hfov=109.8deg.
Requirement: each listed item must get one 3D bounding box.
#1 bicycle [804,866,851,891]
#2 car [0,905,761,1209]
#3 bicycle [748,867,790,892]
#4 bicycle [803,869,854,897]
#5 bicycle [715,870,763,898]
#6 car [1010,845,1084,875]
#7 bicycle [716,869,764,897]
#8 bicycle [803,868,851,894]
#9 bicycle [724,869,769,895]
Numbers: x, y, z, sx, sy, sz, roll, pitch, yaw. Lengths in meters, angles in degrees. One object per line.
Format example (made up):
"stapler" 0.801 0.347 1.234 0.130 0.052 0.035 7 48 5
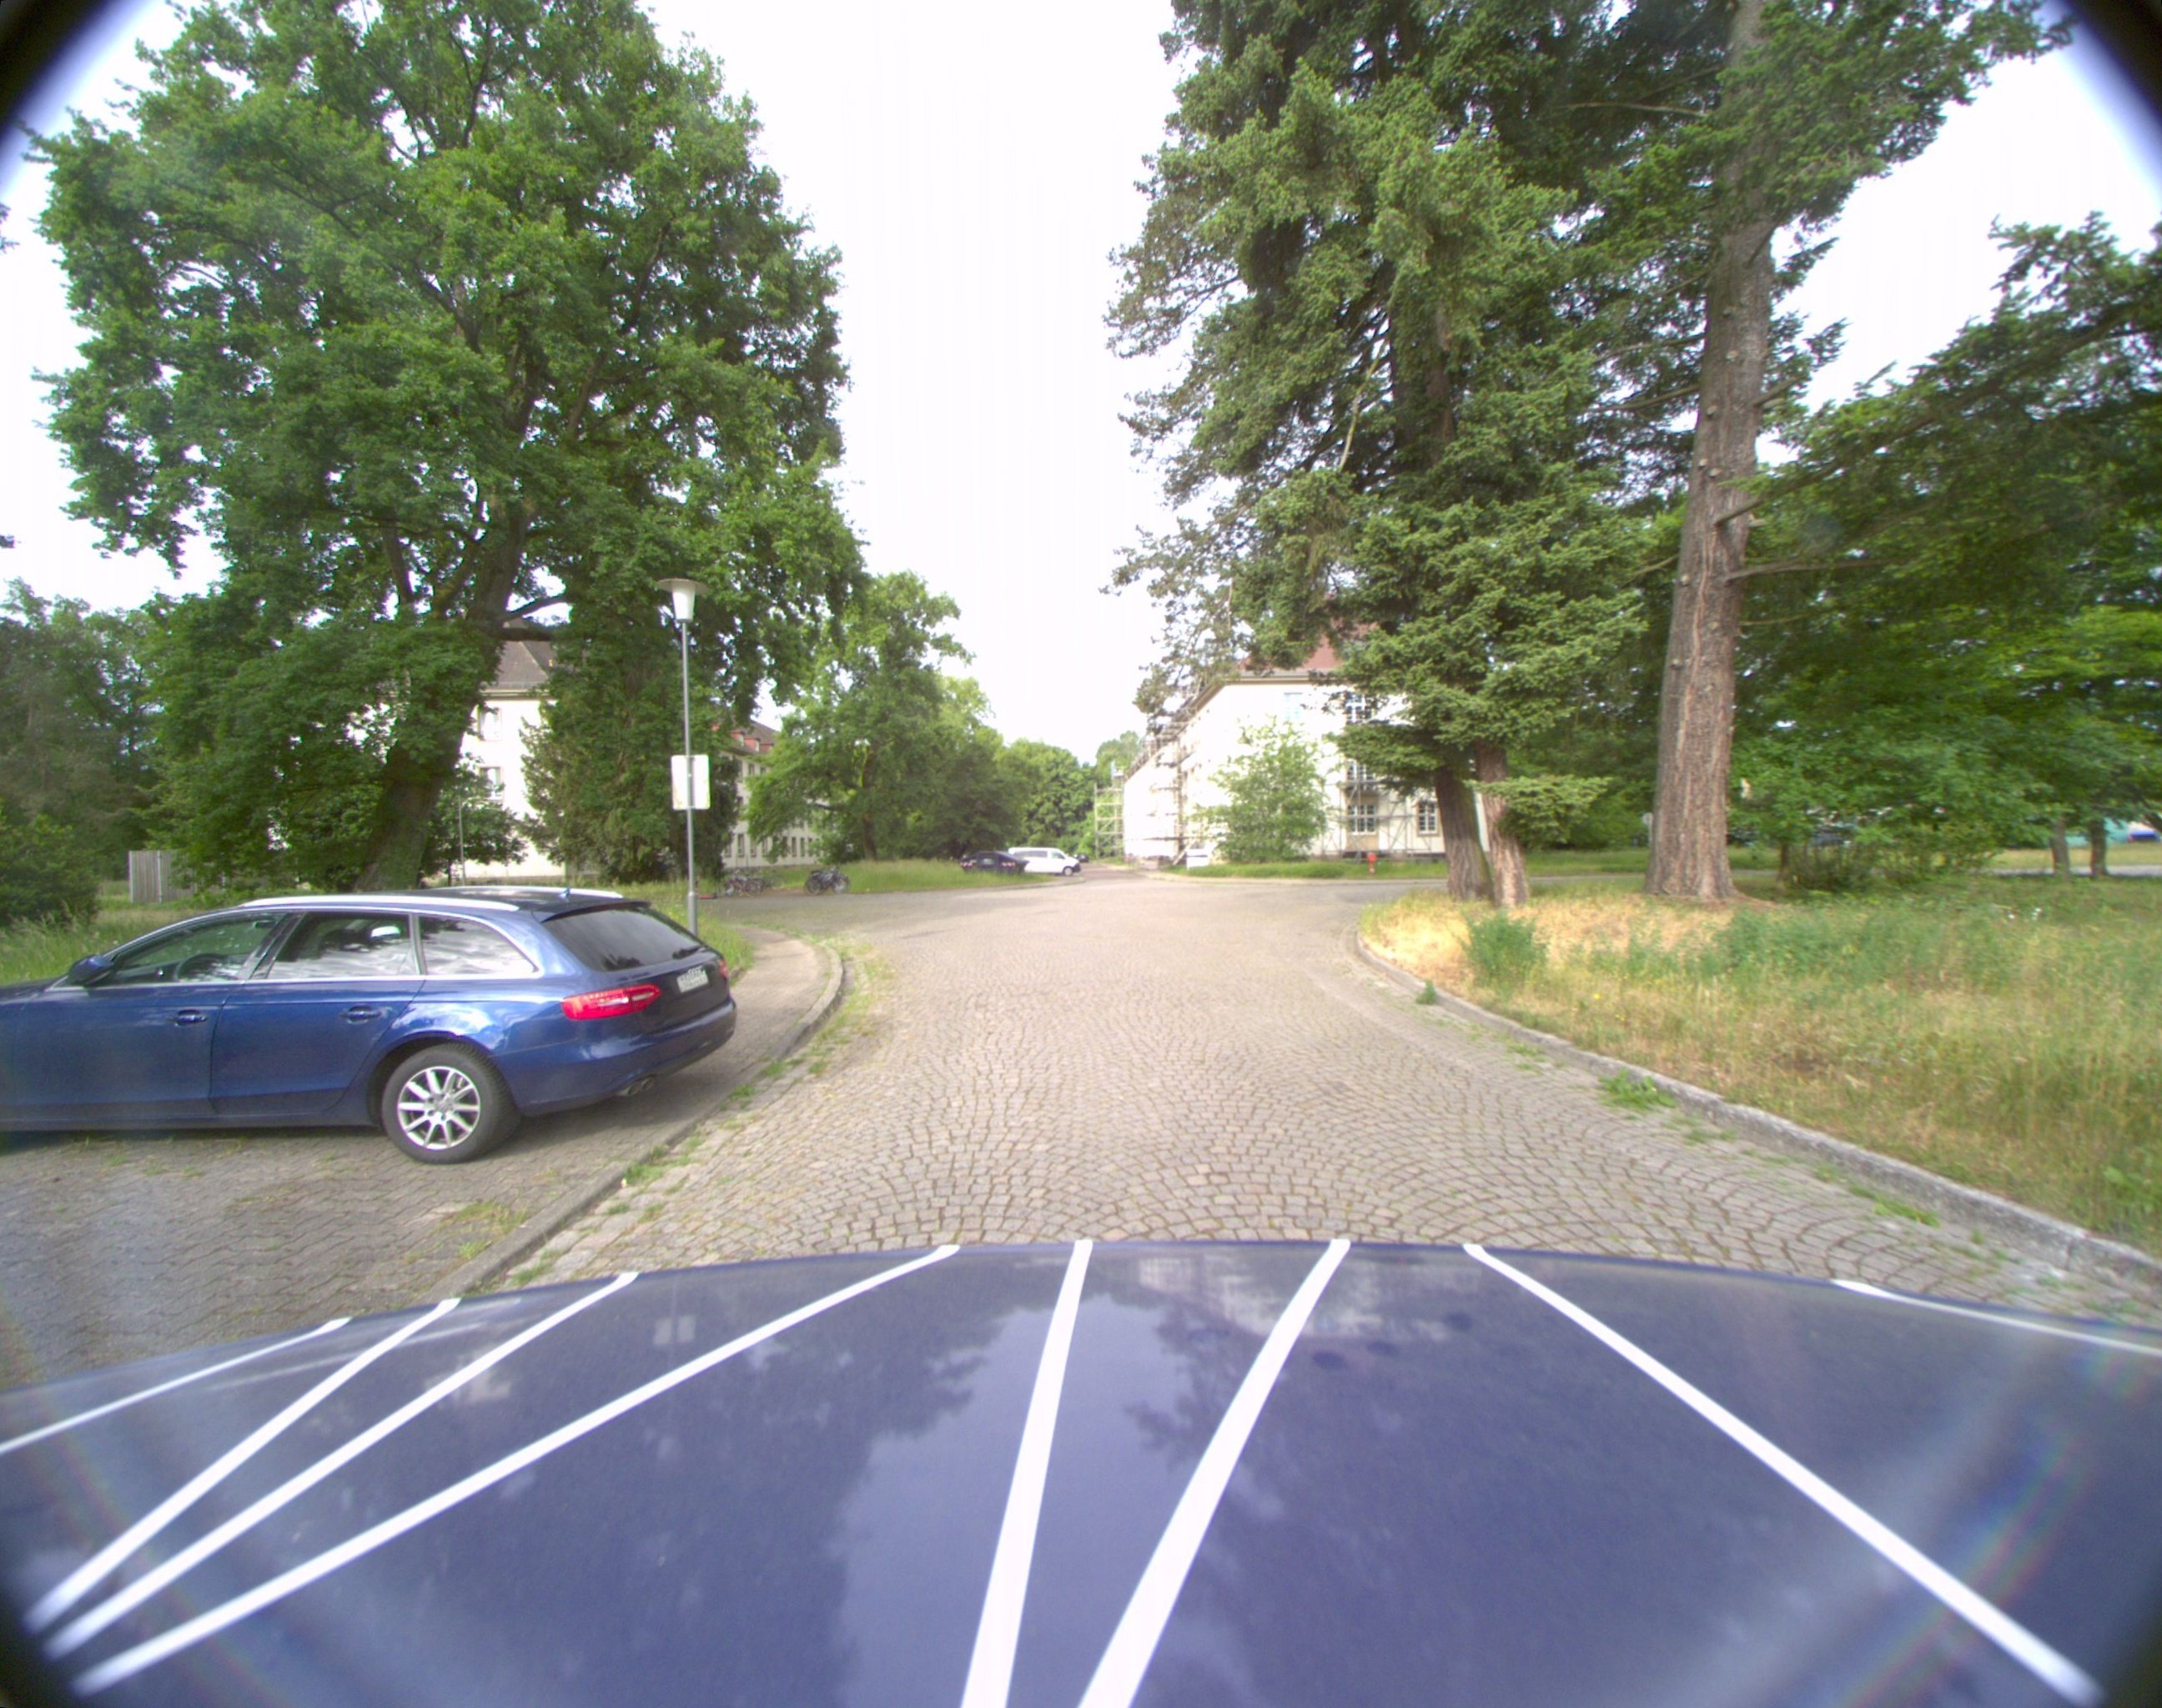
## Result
"bicycle" -12.238 1.169 36.700 2.032 1.070 0.620 -3 1 -25
"car" -4.630 1.101 4.760 4.481 1.413 1.784 0 1 1
"bicycle" -15.450 1.247 37.592 1.860 1.116 0.620 -3 1 -25
"bicycle" -10.989 1.244 33.067 1.976 1.070 0.587 -3 1 -30
"bicycle" -14.906 1.288 33.124 1.860 1.116 0.620 -3 1 -25
"car" -2.437 0.418 53.731 5.102 2.007 2.054 0 1 -4
"bicycle" -15.132 1.290 33.725 1.860 1.116 0.620 -3 1 -25
"bicycle" -11.572 1.215 34.623 1.976 1.070 0.587 -3 1 -30
"bicycle" -15.561 1.288 35.367 1.860 1.116 0.620 -3 1 -25
